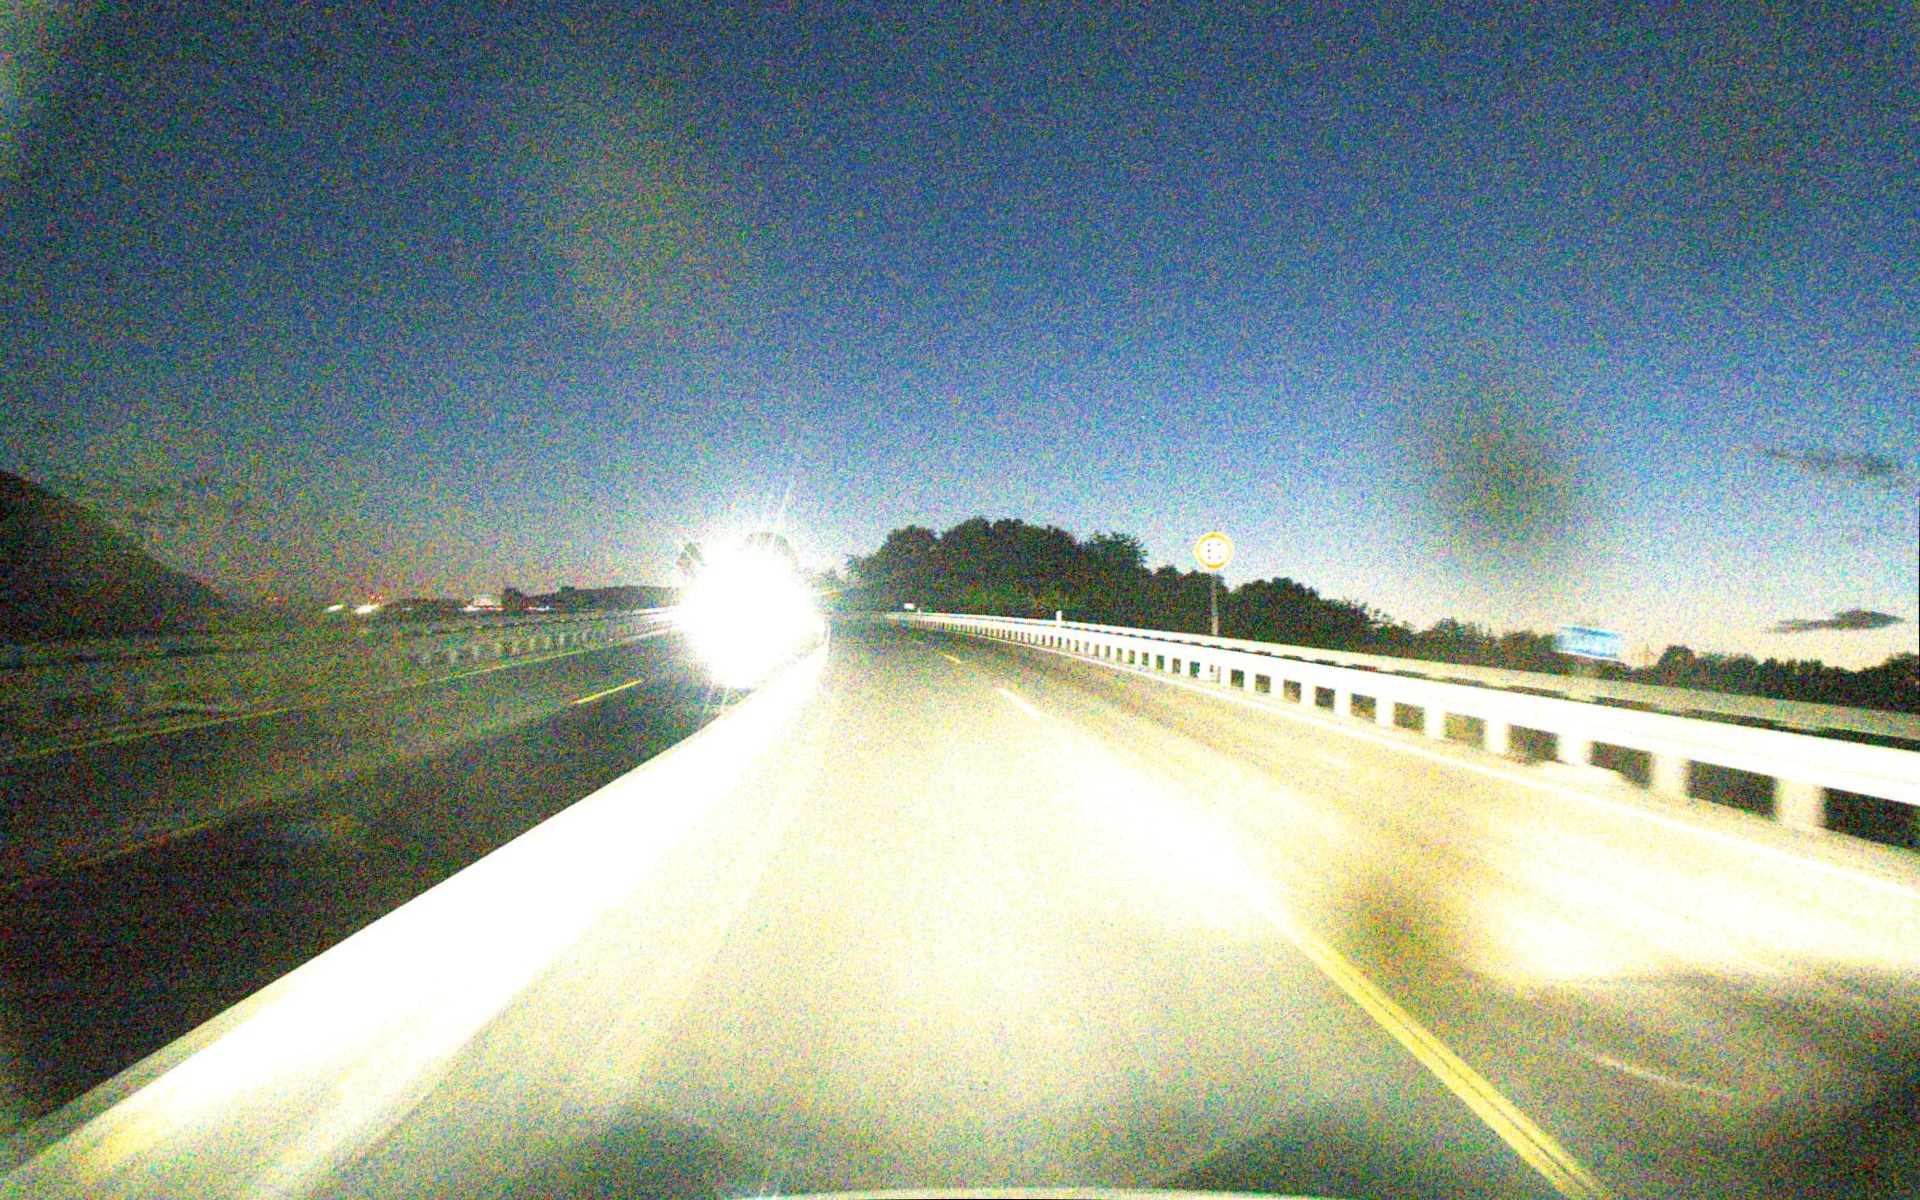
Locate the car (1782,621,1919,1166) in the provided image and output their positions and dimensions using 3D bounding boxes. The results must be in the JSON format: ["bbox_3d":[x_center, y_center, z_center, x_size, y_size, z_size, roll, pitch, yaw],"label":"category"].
[{"bbox_3d":[3.505,0.802,2.751,1.771,1.451,4.873,0,0,-1],"label":"car"}]

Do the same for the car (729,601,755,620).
[{"bbox_3d":[-18.279,0.928,138.750,1.787,1.542,4.508,0,-1,-12],"label":"car"}]
